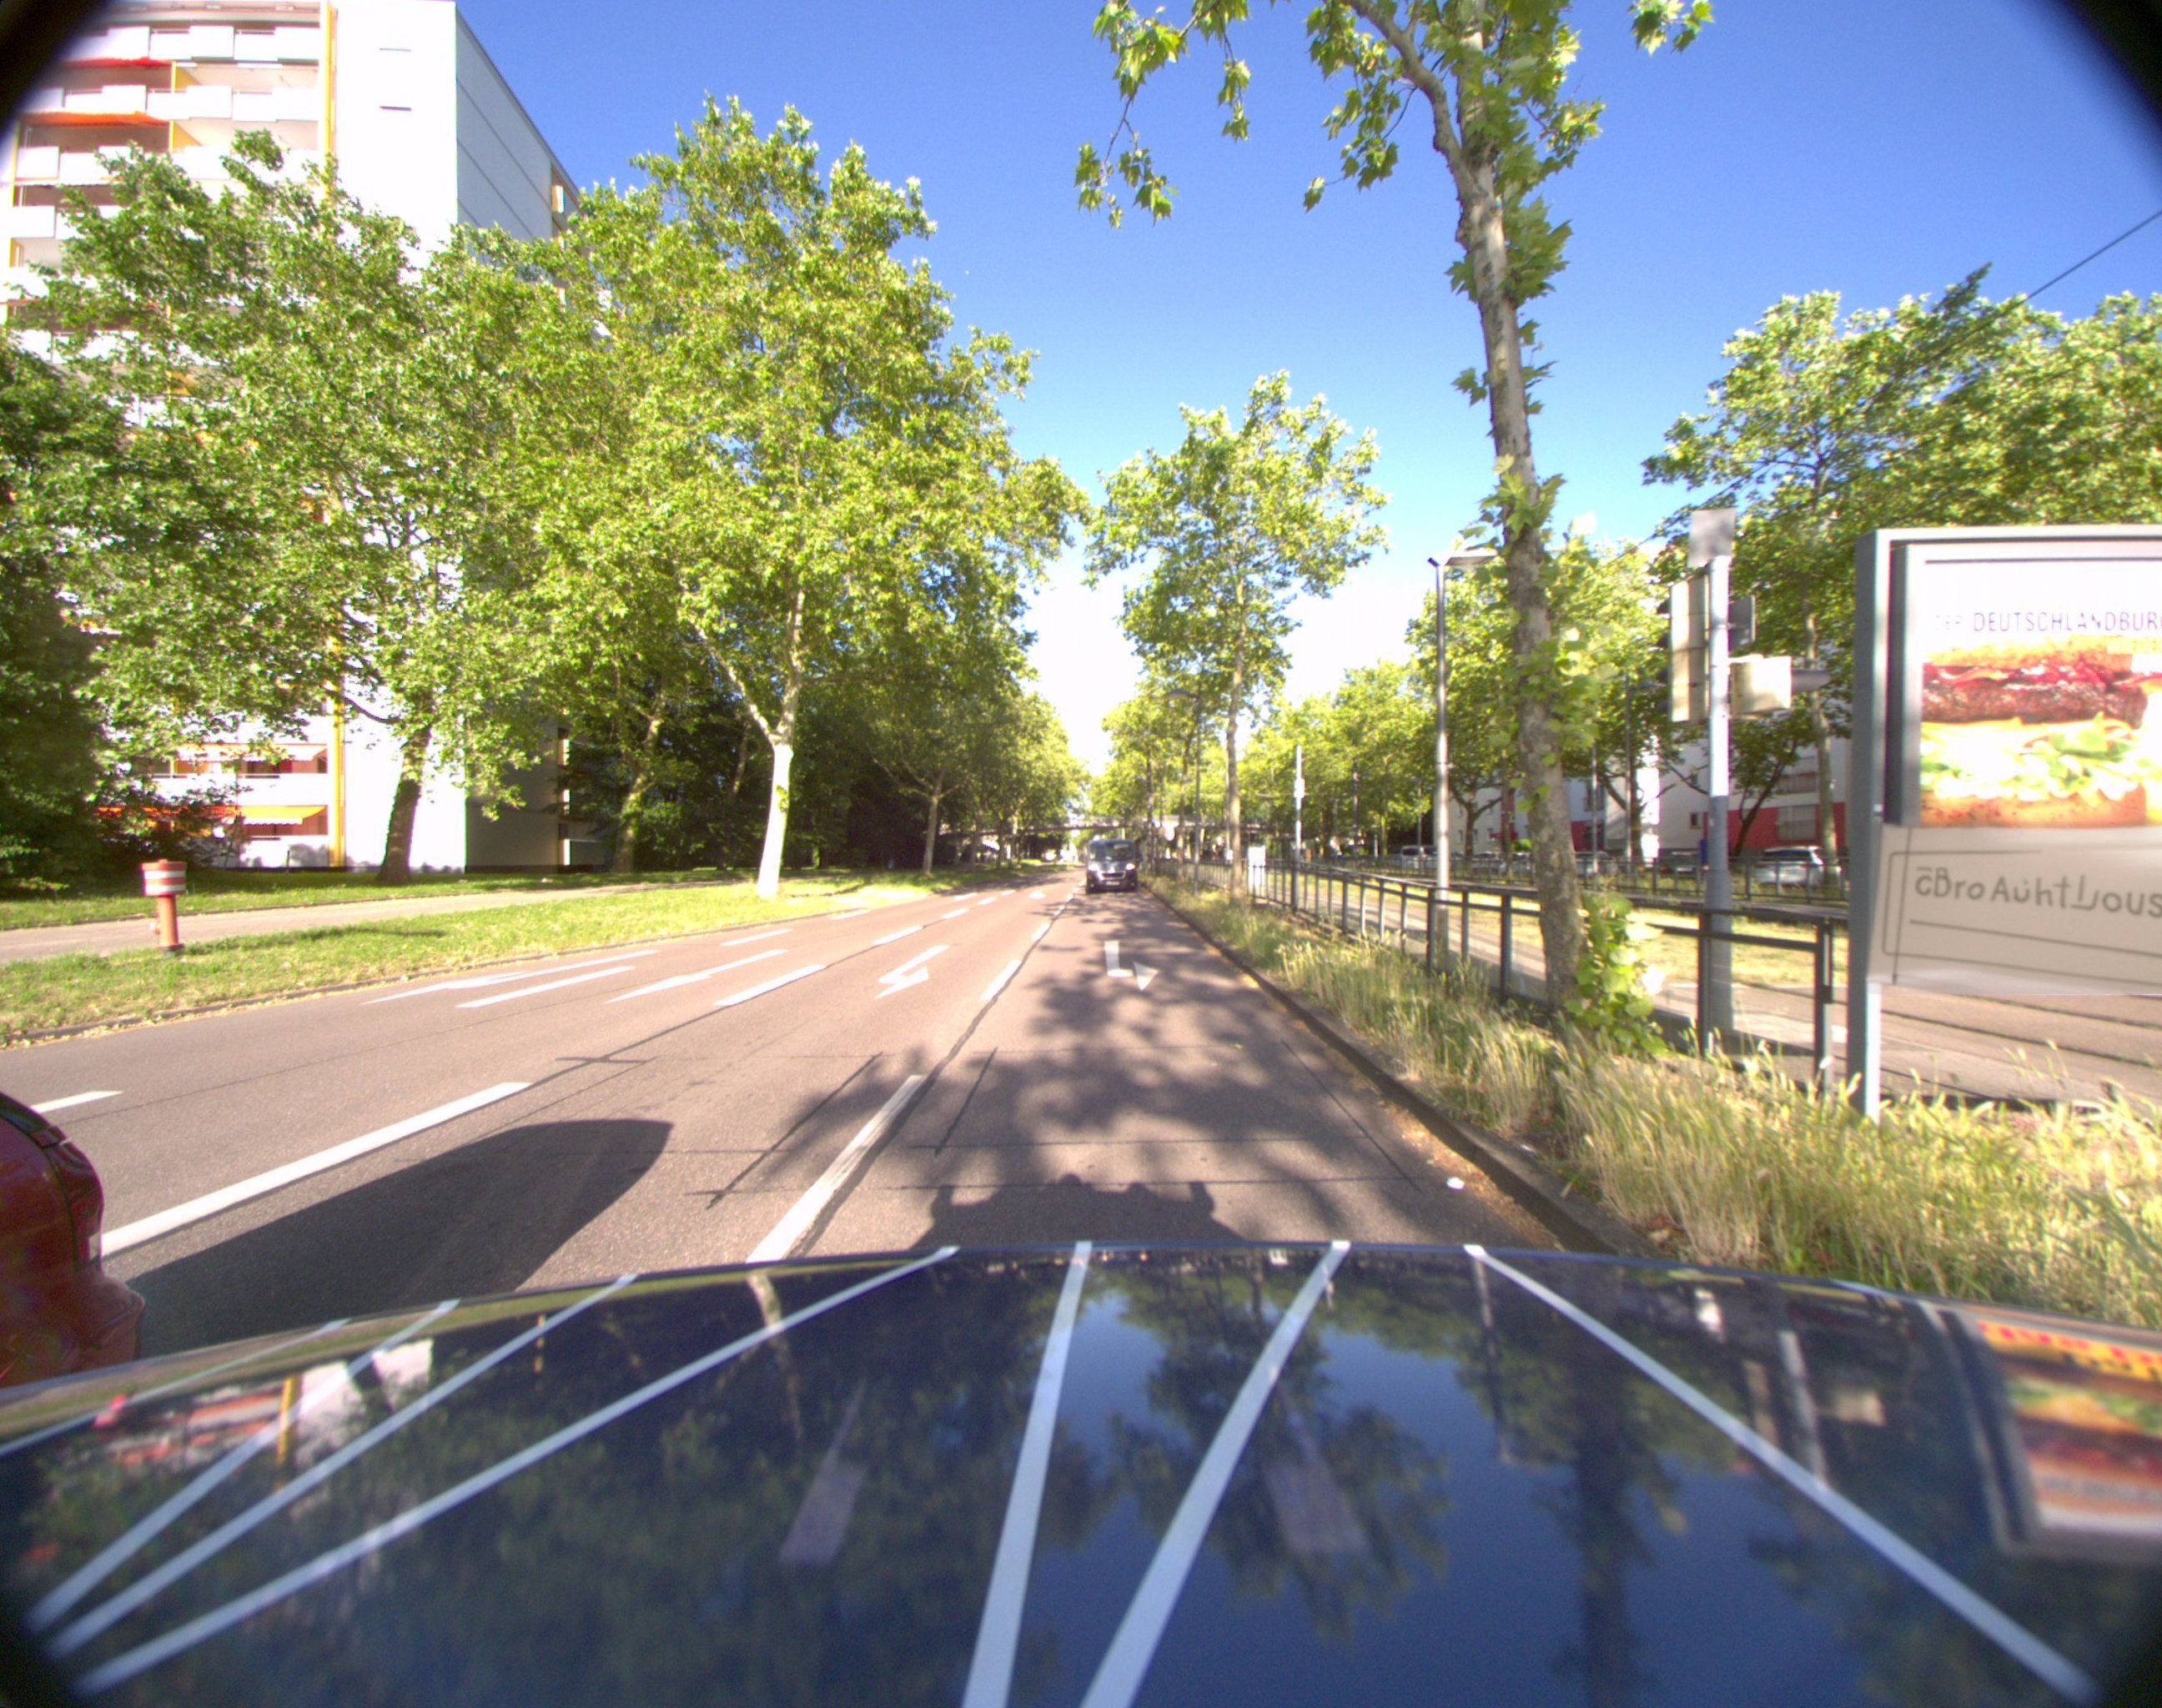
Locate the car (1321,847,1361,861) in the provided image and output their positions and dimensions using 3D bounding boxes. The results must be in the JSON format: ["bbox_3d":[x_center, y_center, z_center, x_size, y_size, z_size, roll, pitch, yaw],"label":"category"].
[{"bbox_3d":[27.230,0.028,79.572,4.376,1.367,1.919,-1,1,-39],"label":"car"}]

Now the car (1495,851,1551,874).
[{"bbox_3d":[26.189,0.485,44.957,3.689,1.234,1.645,-1,1,-39],"label":"car"}]

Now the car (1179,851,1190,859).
[{"bbox_3d":[21.861,0.148,160.508,1.923,1.565,4.368,-1,0,2],"label":"car"}]

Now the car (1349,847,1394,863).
[{"bbox_3d":[26.871,0.051,70.253,4.376,1.367,1.919,-1,1,-39],"label":"car"}]

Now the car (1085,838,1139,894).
[{"bbox_3d":[1.228,0.457,31.842,2.040,2.102,5.113,-1,0,1],"label":"car"}]

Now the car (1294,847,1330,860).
[{"bbox_3d":[27.189,-0.055,89.426,4.376,1.367,1.919,-1,1,-39],"label":"car"}]

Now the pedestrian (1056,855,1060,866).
[{"bbox_3d":[-3.097,0.860,103.275,0.398,1.454,0.418,-1,1,16],"label":"pedestrian"}]

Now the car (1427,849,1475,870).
[{"bbox_3d":[26.234,0.351,53.896,3.689,1.388,1.645,-1,1,-39],"label":"car"}]

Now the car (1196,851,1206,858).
[{"bbox_3d":[25.713,0.054,163.405,1.672,1.351,3.295,-1,0,1],"label":"car"}]

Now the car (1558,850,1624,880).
[{"bbox_3d":[25.320,0.504,37.687,3.689,1.384,1.645,-1,1,-38],"label":"car"}]

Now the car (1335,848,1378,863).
[{"bbox_3d":[26.576,0.103,73.275,4.376,1.367,1.919,-1,1,-39],"label":"car"}]

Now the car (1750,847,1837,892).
[{"bbox_3d":[25.046,0.497,26.683,3.689,1.425,1.683,-1,1,-38],"label":"car"}]

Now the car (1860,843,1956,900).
[{"bbox_3d":[25.008,0.465,22.957,3.689,1.558,1.683,-1,1,-38],"label":"car"}]

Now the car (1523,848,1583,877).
[{"bbox_3d":[25.800,0.433,41.515,3.689,1.440,1.645,-1,1,-39],"label":"car"}]

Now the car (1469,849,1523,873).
[{"bbox_3d":[25.946,0.419,47.492,3.689,1.440,1.645,-1,1,-39],"label":"car"}]

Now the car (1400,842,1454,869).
[{"bbox_3d":[25.949,0.089,56.989,4.376,1.873,1.919,-1,1,-39],"label":"car"}]

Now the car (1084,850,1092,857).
[{"bbox_3d":[1.933,-0.128,200.879,2.040,1.995,5.113,-1,0,1],"label":"car"}]
